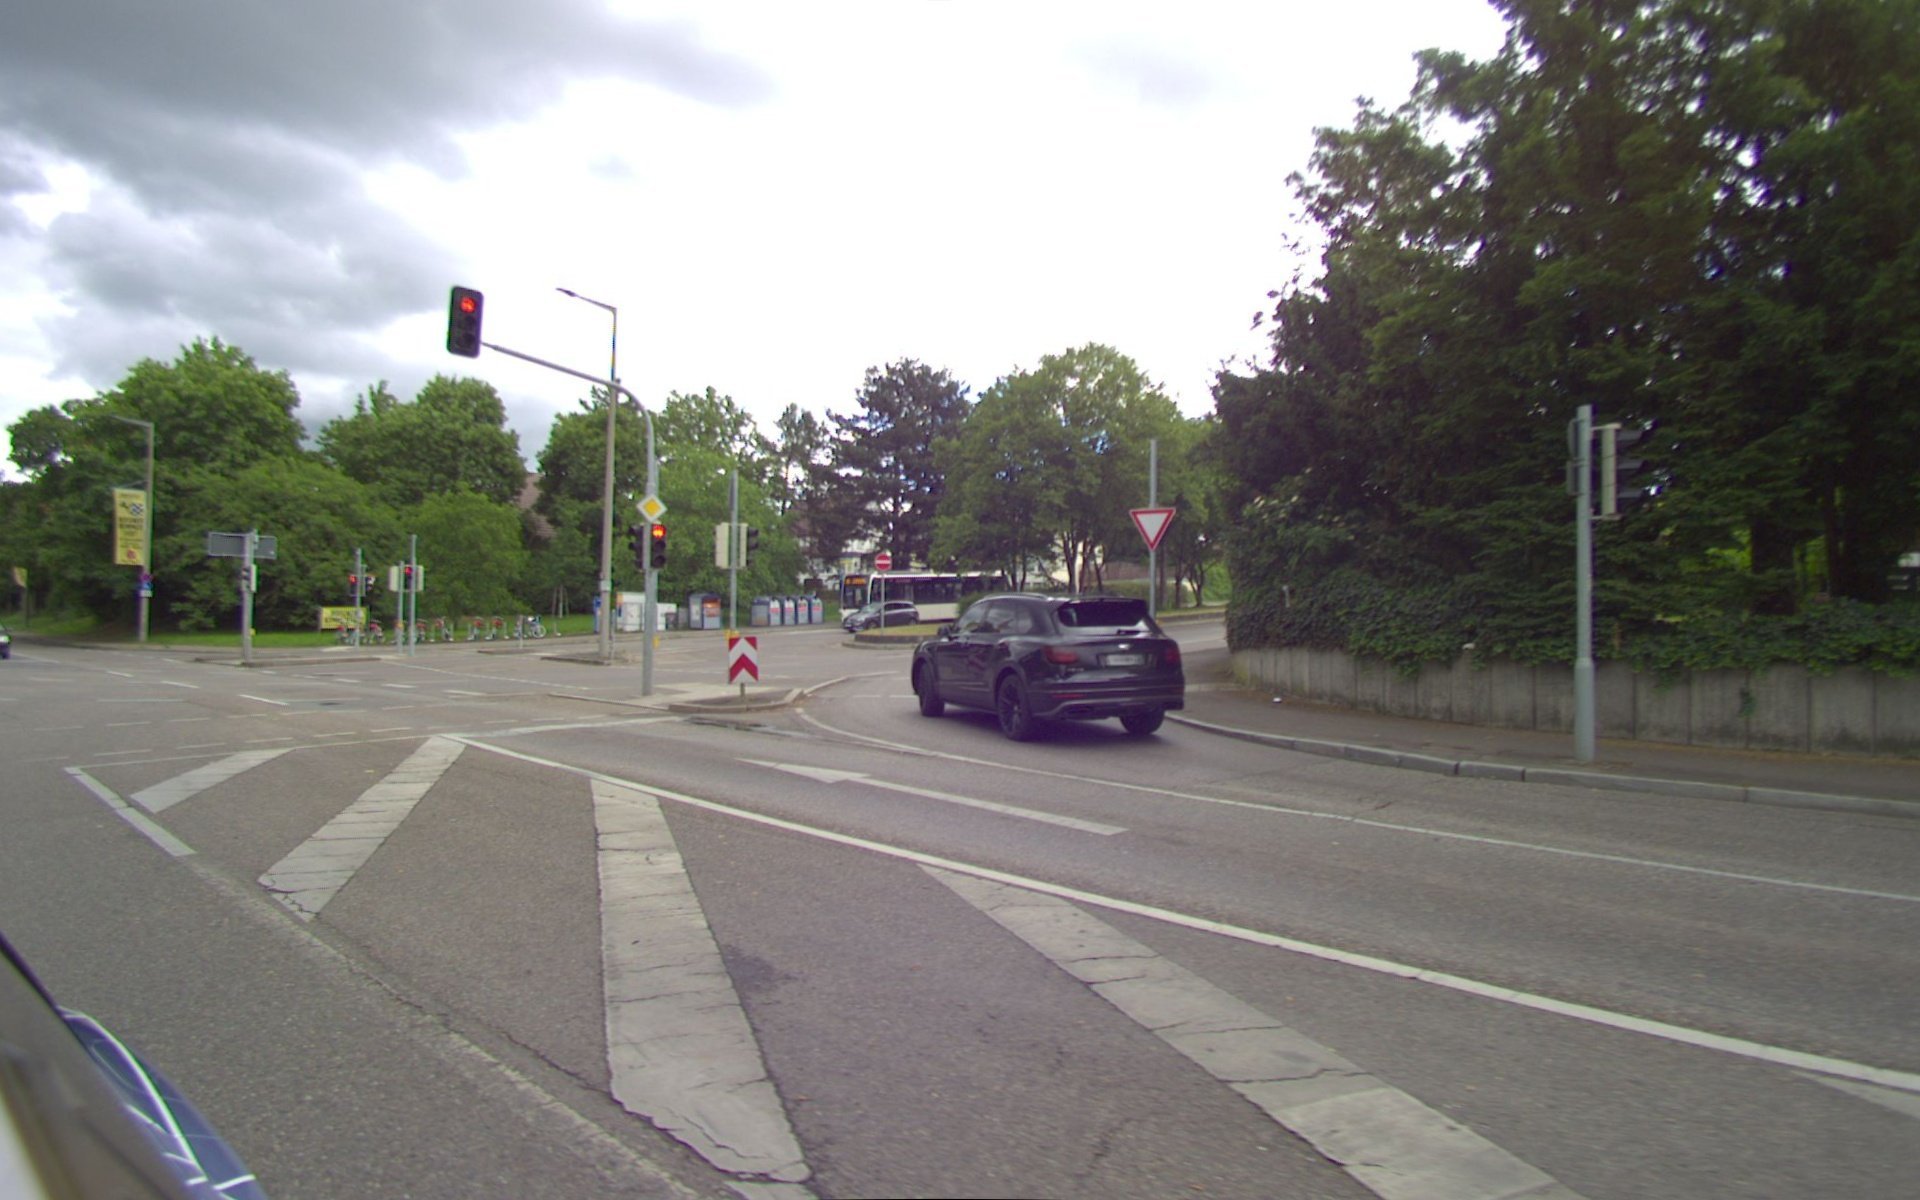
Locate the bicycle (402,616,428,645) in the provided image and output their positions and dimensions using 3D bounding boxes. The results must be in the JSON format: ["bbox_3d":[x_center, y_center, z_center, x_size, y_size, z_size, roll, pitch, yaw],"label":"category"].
[{"bbox_3d":[-25.416,1.402,47.232,0.537,1.262,1.940,0,0,-11],"label":"bicycle"}]

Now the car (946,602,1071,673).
[{"bbox_3d":[1.249,0.806,23.916,1.735,1.475,4.313,0,0,20],"label":"car"}]

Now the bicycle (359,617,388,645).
[{"bbox_3d":[-27.179,1.416,46.914,0.537,1.262,1.940,0,0,-11],"label":"bicycle"}]

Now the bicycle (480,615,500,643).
[{"bbox_3d":[-22.572,1.378,48.599,0.536,1.262,1.941,0,0,-15],"label":"bicycle"}]

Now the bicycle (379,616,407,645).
[{"bbox_3d":[-26.280,1.409,46.935,0.537,1.262,1.940,0,0,-11],"label":"bicycle"}]

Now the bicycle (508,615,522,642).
[{"bbox_3d":[-21.615,1.352,49.184,0.536,1.262,1.942,0,0,-26],"label":"bicycle"}]

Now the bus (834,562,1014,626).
[{"bbox_3d":[-1.852,-0.477,60.197,2.681,3.186,12.172,0,2,44],"label":"bus"}]

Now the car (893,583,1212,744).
[{"bbox_3d":[0.915,0.716,13.314,1.875,1.691,5.097,1,-1,-25],"label":"car"}]

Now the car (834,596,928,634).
[{"bbox_3d":[-4.029,0.726,52.210,4.675,1.867,2.002,-1,0,-44],"label":"car"}]

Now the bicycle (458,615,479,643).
[{"bbox_3d":[-23.406,1.349,48.184,0.536,1.262,1.941,0,0,-15],"label":"bicycle"}]

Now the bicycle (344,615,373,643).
[{"bbox_3d":[-27.928,1.322,46.986,0.537,1.262,1.940,-1,0,-11],"label":"bicycle"}]

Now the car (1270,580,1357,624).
[{"bbox_3d":[15.901,0.109,45.397,4.475,1.888,1.950,1,-1,-45],"label":"car"}]

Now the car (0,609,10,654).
[{"bbox_3d":[-32.978,1.043,33.741,3.806,1.478,1.540,-1,-2,42],"label":"car"}]

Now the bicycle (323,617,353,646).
[{"bbox_3d":[-28.491,1.419,46.352,0.537,1.262,1.940,0,0,-11],"label":"bicycle"}]

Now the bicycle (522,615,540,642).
[{"bbox_3d":[-20.988,1.401,49.506,0.536,1.262,1.941,0,0,-32],"label":"bicycle"}]

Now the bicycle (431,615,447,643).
[{"bbox_3d":[-24.535,1.358,47.653,0.536,1.262,1.941,0,0,-32],"label":"bicycle"}]
